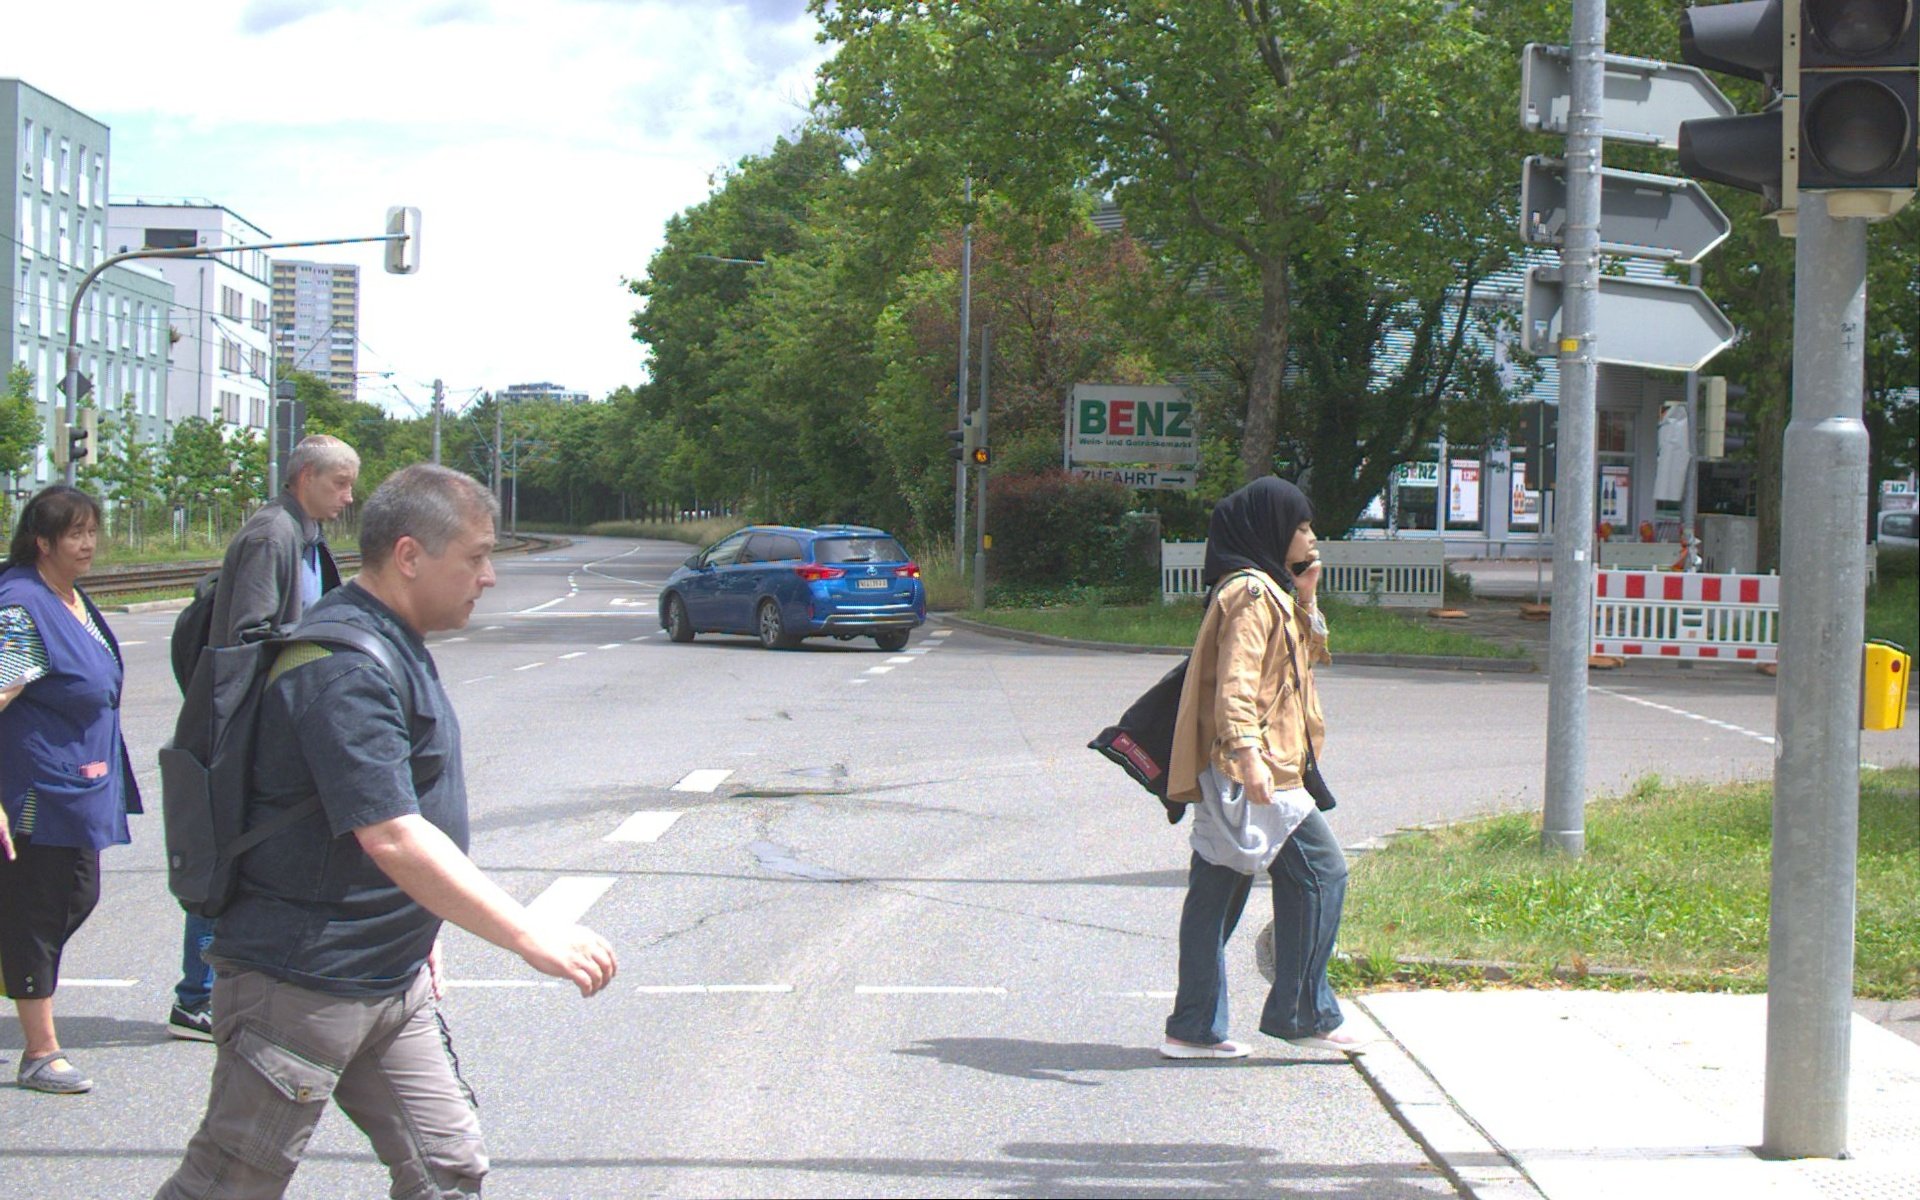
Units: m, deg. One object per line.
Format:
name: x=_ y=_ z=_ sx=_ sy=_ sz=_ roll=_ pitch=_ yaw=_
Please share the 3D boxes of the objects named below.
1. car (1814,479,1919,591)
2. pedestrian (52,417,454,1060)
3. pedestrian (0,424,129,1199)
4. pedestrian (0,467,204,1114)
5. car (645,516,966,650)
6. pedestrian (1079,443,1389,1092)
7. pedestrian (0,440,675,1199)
car: x=17.738 y=-1.186 z=62.557 sx=1.993 sy=2.007 sz=4.000 roll=0 pitch=2 yaw=-32
pedestrian: x=-2.011 y=0.374 z=9.918 sx=1.002 sy=1.767 sz=0.929 roll=0 pitch=1 yaw=-3
pedestrian: x=-2.126 y=0.511 z=6.176 sx=1.020 sy=1.642 sz=0.929 roll=1 pitch=1 yaw=1
pedestrian: x=-2.522 y=0.459 z=8.958 sx=0.912 sy=1.601 sz=0.929 roll=1 pitch=1 yaw=-2
car: x=-1.914 y=-0.239 z=41.000 sx=1.982 sy=1.481 sz=4.491 roll=0 pitch=2 yaw=-30
pedestrian: x=0.750 y=0.441 z=9.653 sx=0.782 sy=1.737 sz=0.828 roll=1 pitch=1 yaw=0
pedestrian: x=-0.977 y=0.579 z=5.509 sx=0.958 sy=1.642 sz=0.880 roll=1 pitch=1 yaw=0
